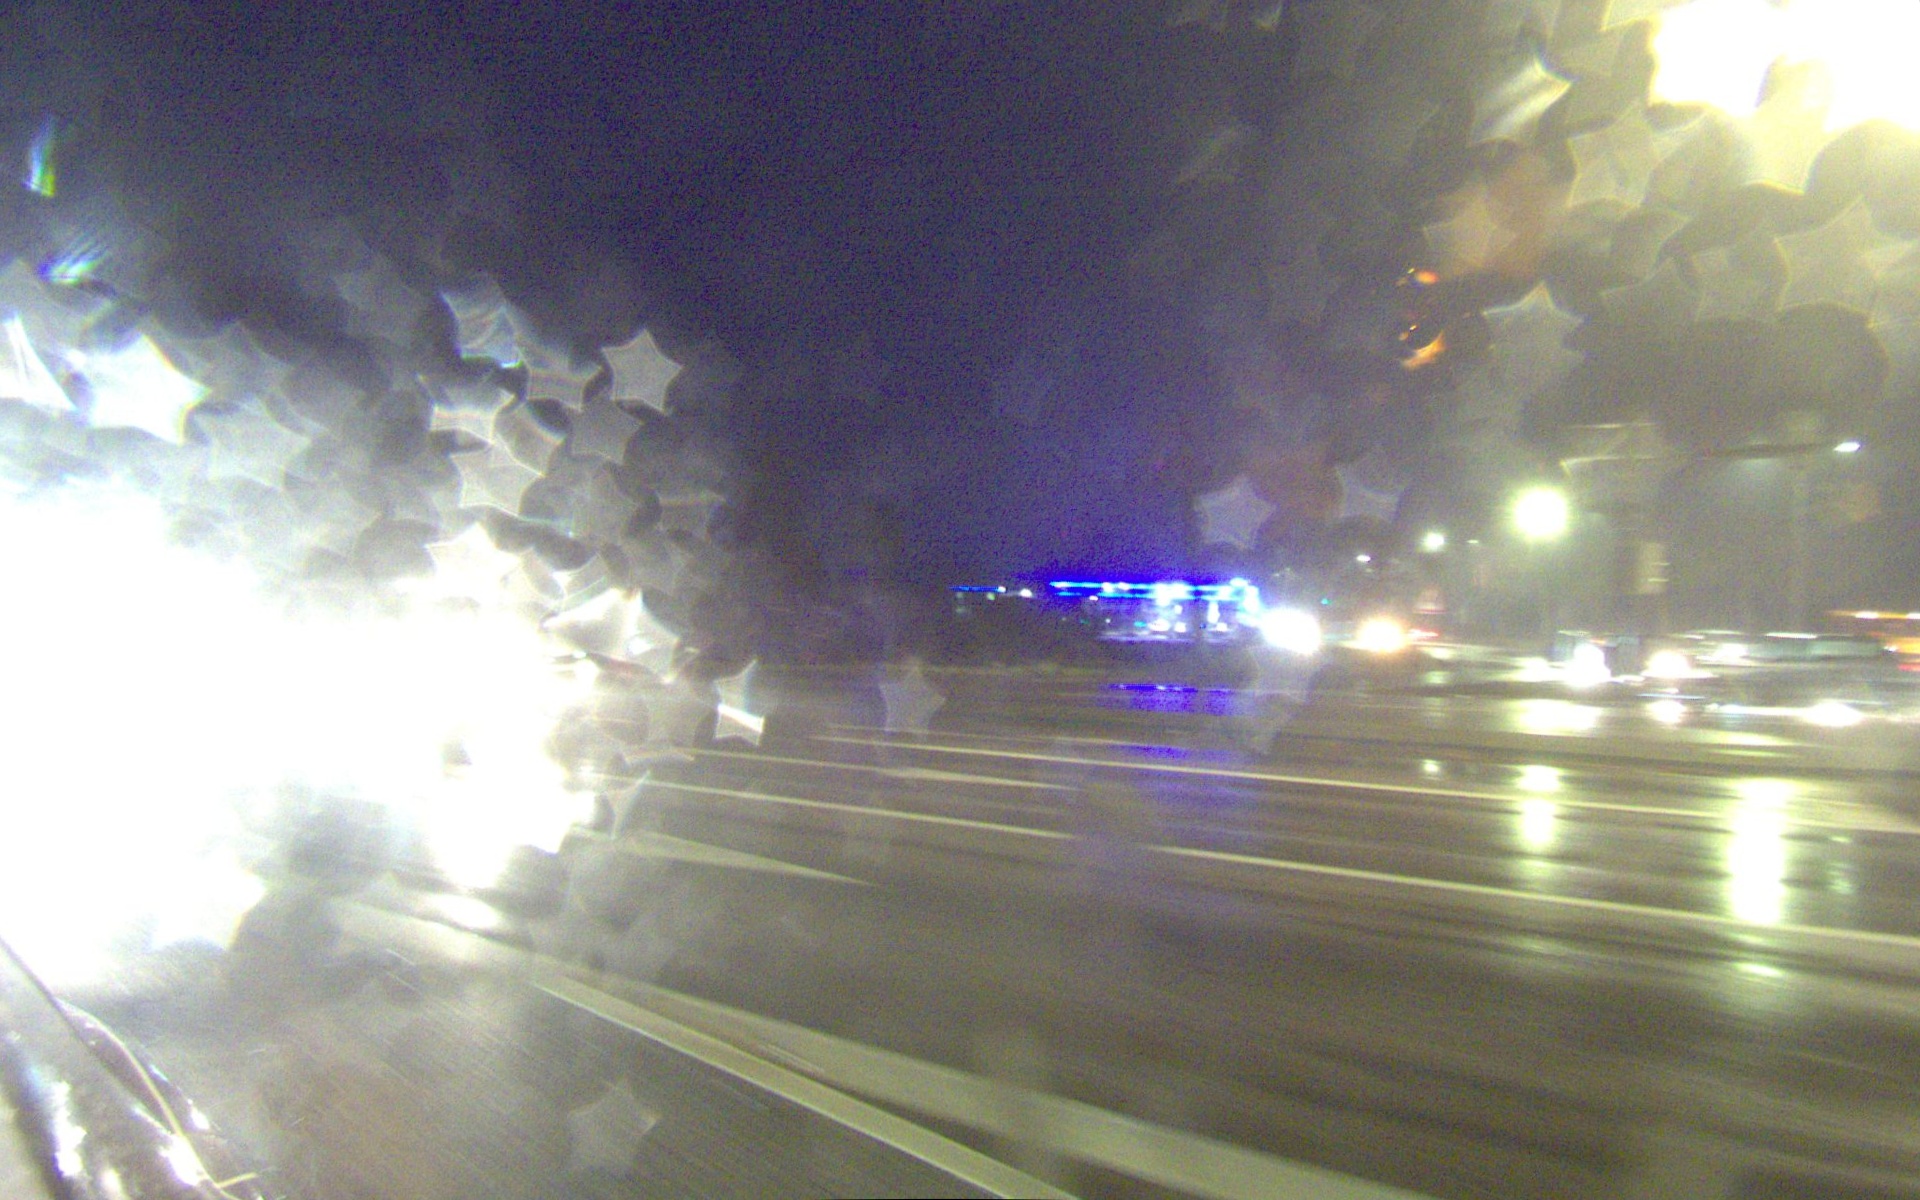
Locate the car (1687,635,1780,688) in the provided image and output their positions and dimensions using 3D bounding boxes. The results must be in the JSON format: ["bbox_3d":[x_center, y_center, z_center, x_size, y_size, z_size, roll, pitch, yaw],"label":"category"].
[{"bbox_3d":[32.464,2.546,42.596,1.695,1.953,3.596,1,0,12],"label":"car"}]

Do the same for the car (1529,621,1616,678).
[{"bbox_3d":[24.840,1.963,41.210,1.645,2.095,3.988,0,0,9],"label":"car"}]

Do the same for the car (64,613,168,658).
[{"bbox_3d":[-35.688,1.473,42.763,4.770,1.806,2.014,-1,-1,32],"label":"car"}]

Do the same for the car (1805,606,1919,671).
[{"bbox_3d":[30.849,1.238,34.226,1.776,2.039,4.129,0,0,13],"label":"car"}]

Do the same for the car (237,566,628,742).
[{"bbox_3d":[-6.523,0.586,12.427,4.700,1.807,1.980,0,-2,29],"label":"car"}]

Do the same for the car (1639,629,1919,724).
[{"bbox_3d":[14.309,1.255,17.502,4.005,1.425,1.714,0,1,25],"label":"car"}]

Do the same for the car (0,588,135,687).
[{"bbox_3d":[-18.185,0.678,19.852,4.225,1.607,1.769,4,-1,32],"label":"car"}]

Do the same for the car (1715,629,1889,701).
[{"bbox_3d":[22.857,1.696,27.715,1.939,1.645,4.241,0,0,13],"label":"car"}]
